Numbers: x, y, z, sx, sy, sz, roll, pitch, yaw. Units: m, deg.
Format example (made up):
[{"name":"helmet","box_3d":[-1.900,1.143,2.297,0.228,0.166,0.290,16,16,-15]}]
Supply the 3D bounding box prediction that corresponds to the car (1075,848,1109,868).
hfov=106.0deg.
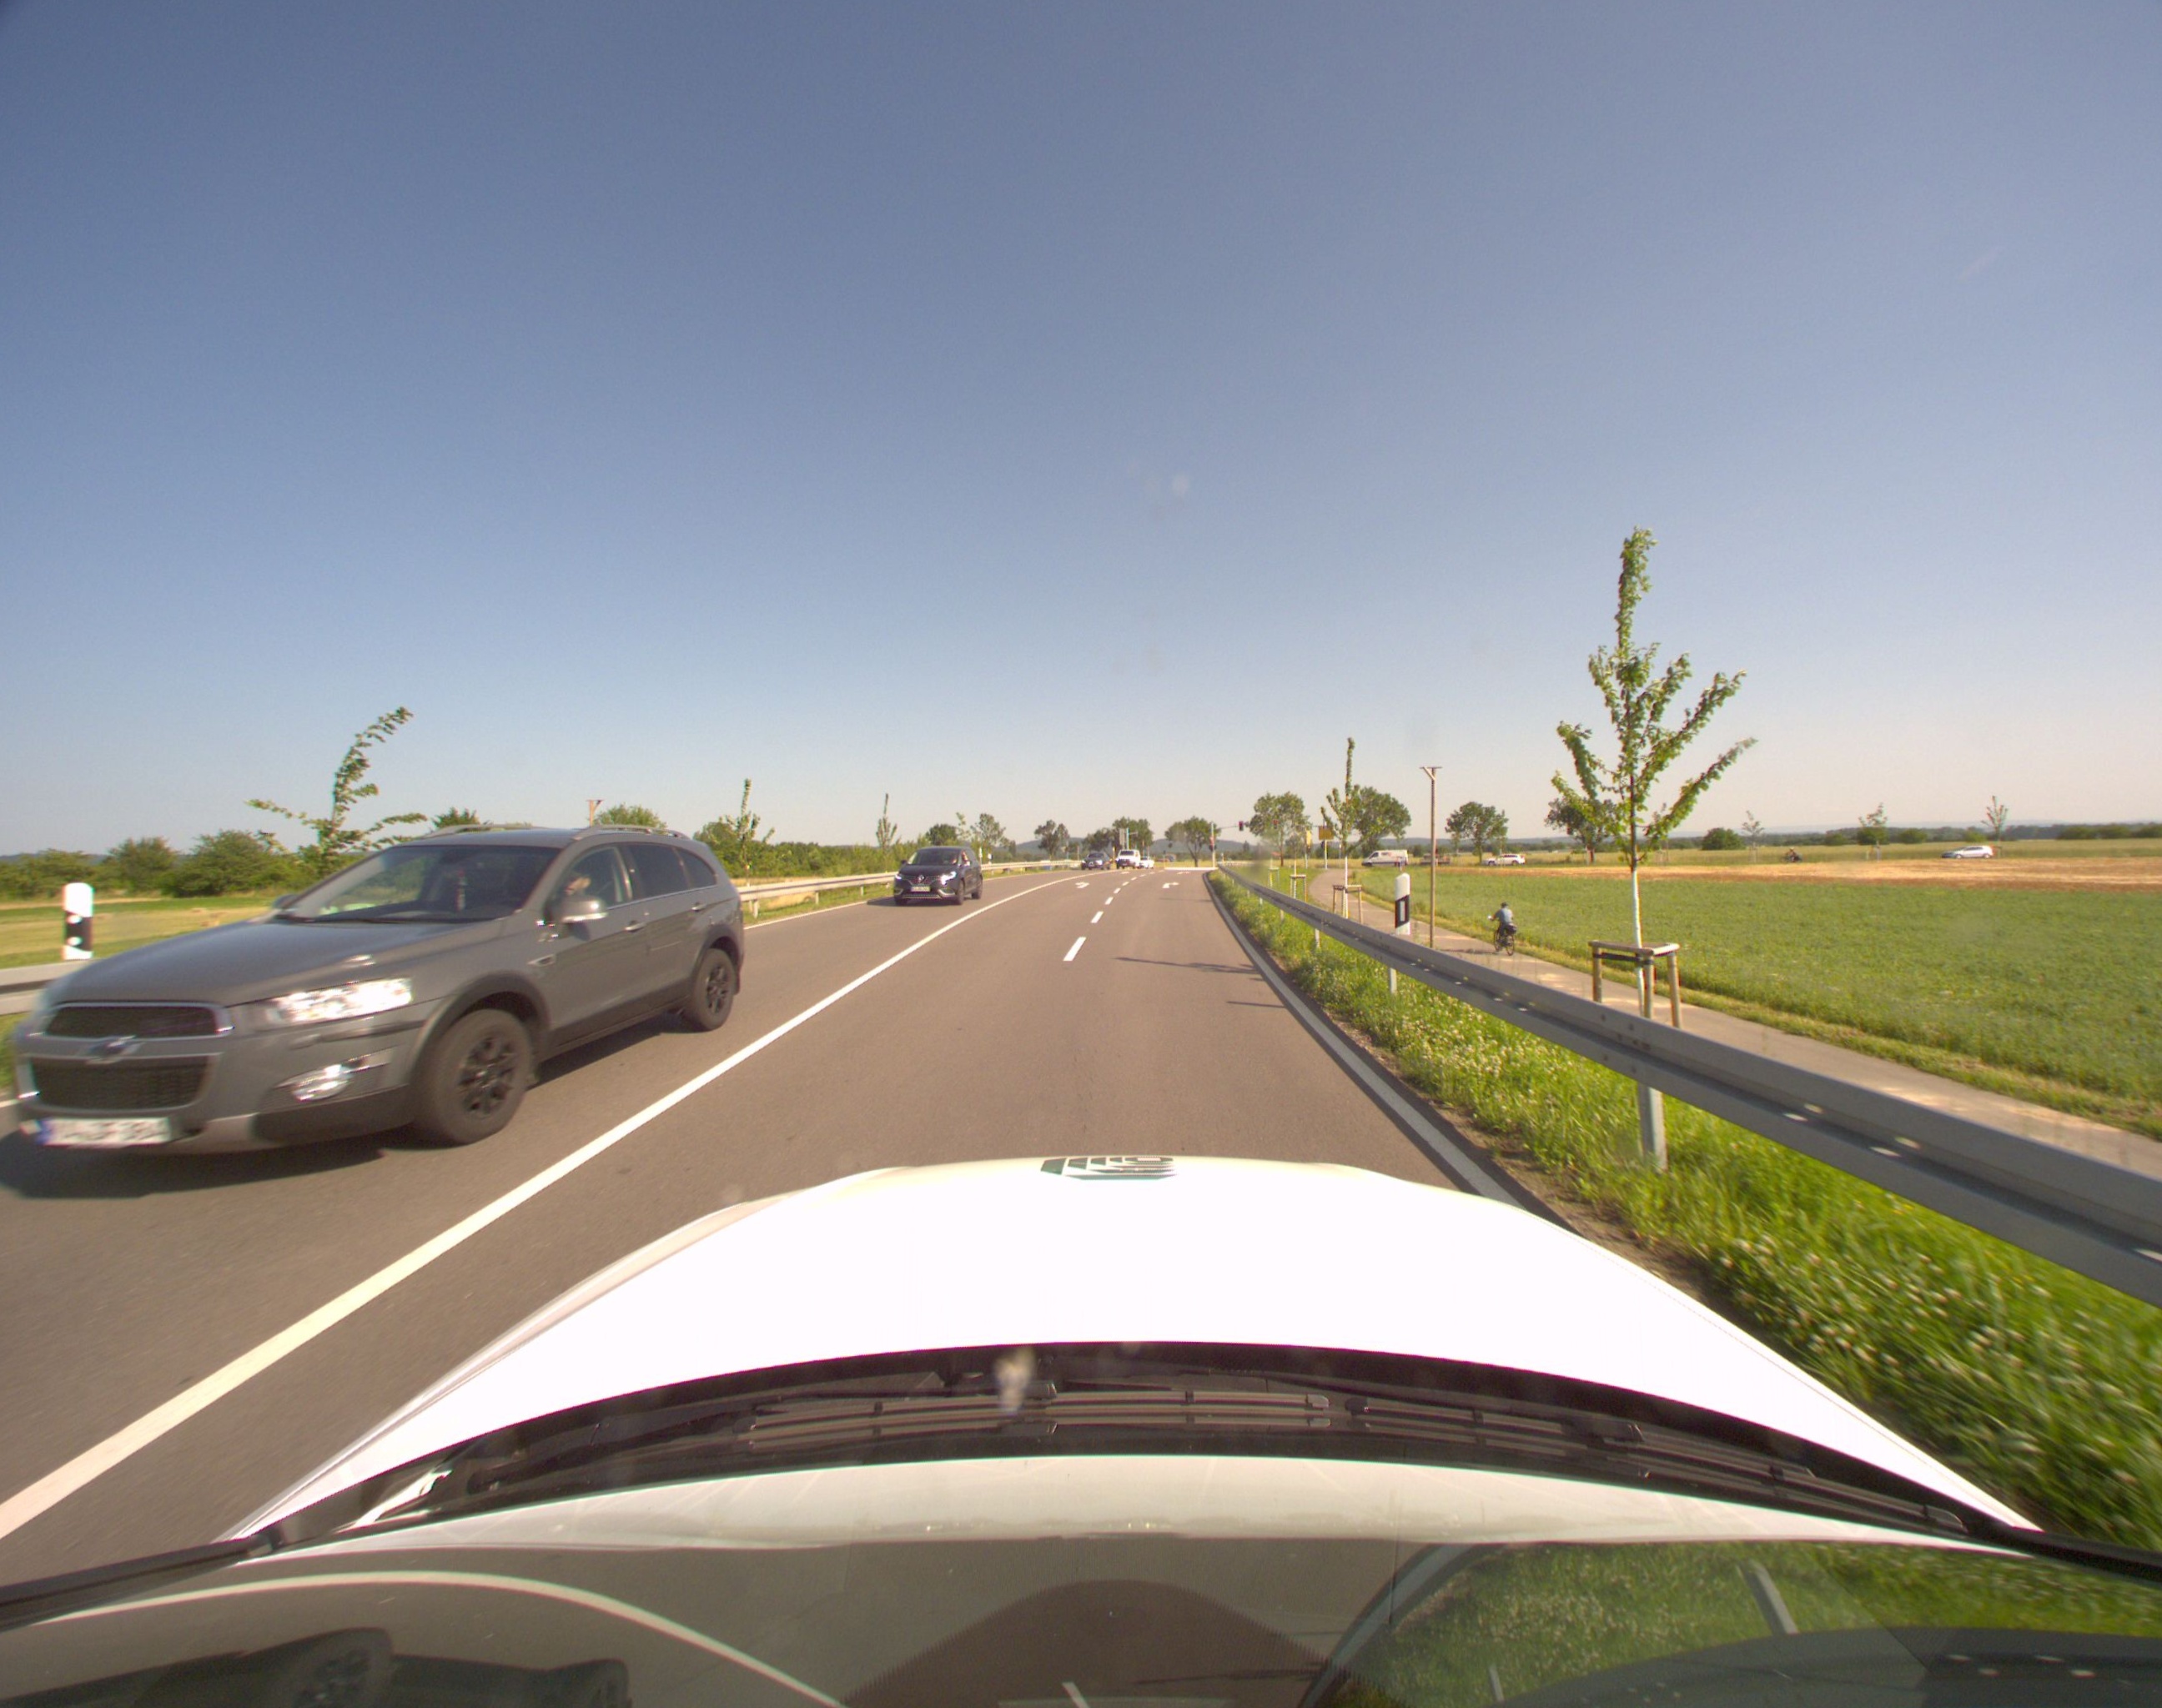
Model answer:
[{"name":"car","box_3d":[0.952,0.299,66.943,1.782,1.448,4.723,1,2,13]}]

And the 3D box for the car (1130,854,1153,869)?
[{"name":"car","box_3d":[7.274,0.861,96.872,2.101,1.492,5.170,1,2,11]}]

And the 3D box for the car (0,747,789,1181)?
[{"name":"car","box_3d":[-4.023,0.543,5.950,1.876,1.798,5.090,1,-2,0]}]

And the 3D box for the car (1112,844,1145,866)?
[{"name":"car","box_3d":[4.907,0.109,83.073,2.098,2.013,5.179,1,2,18]}]

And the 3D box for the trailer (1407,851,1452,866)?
[{"name":"trailer","box_3d":[45.415,0.595,106.124,5.213,1.753,1.964,-1,-2,24]}]

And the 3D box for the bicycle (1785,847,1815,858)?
[{"name":"bicycle","box_3d":[75.434,-0.154,85.483,2.137,1.186,0.894,-1,-2,21]}]

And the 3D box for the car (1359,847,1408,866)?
[{"name":"car","box_3d":[40.265,0.334,108.348,5.904,2.493,2.011,0,-1,24]}]

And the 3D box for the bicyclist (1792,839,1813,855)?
[{"name":"bicyclist","box_3d":[75.669,-0.735,85.415,1.268,1.601,1.171,-1,0,21]}]

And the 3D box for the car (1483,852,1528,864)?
[{"name":"car","box_3d":[53.620,0.483,102.970,4.827,1.510,2.010,0,-1,21]}]

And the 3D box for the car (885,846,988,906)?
[{"name":"car","box_3d":[-4.174,0.573,24.328,1.985,1.592,4.866,1,0,2]}]
